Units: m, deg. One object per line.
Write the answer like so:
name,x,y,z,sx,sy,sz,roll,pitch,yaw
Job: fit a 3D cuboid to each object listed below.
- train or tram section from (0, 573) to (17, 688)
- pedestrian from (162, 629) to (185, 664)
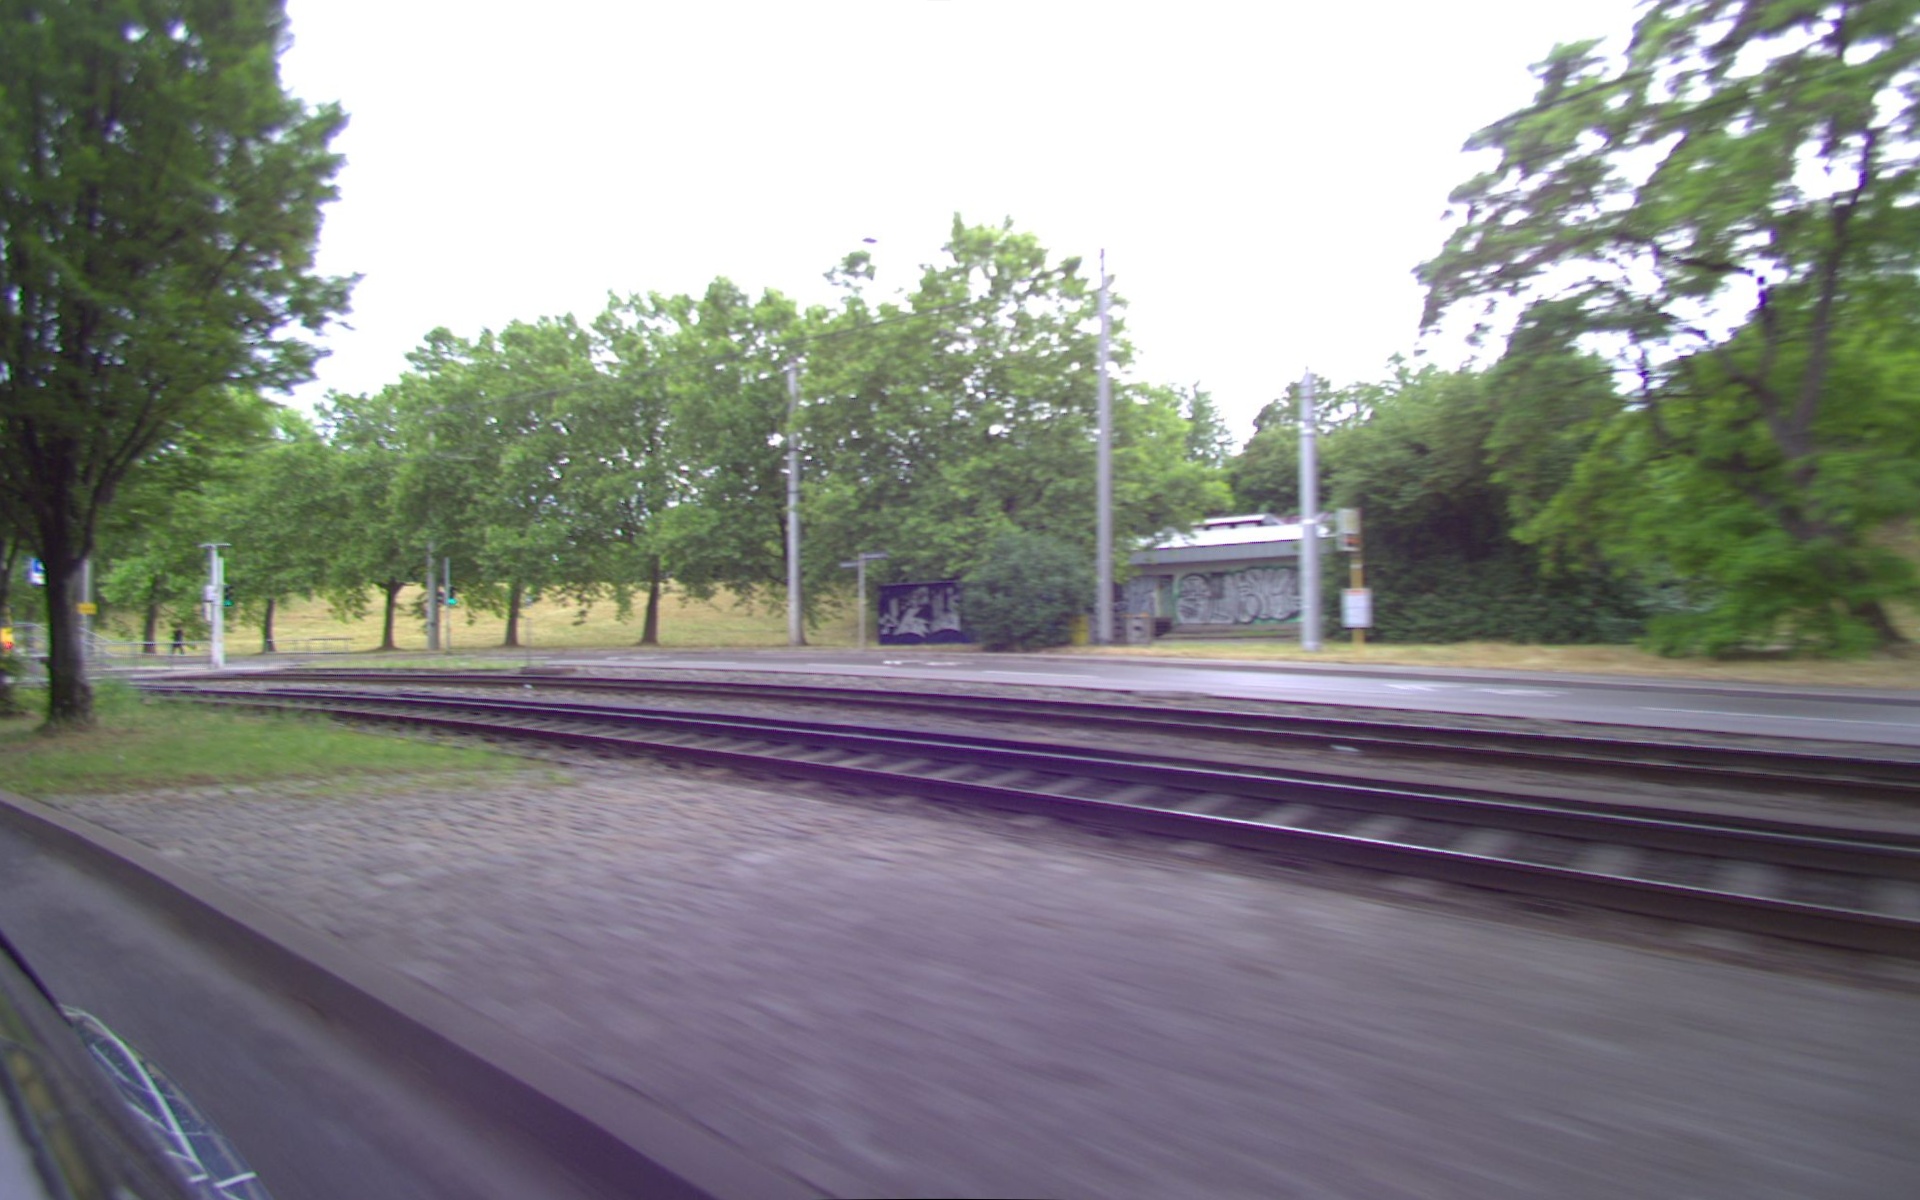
train or tram section,-42.579,1.277,36.711,19.158,3.990,2.862,-1,1,17
pedestrian,-42.414,2.528,54.586,0.761,1.835,0.724,-2,-1,30
